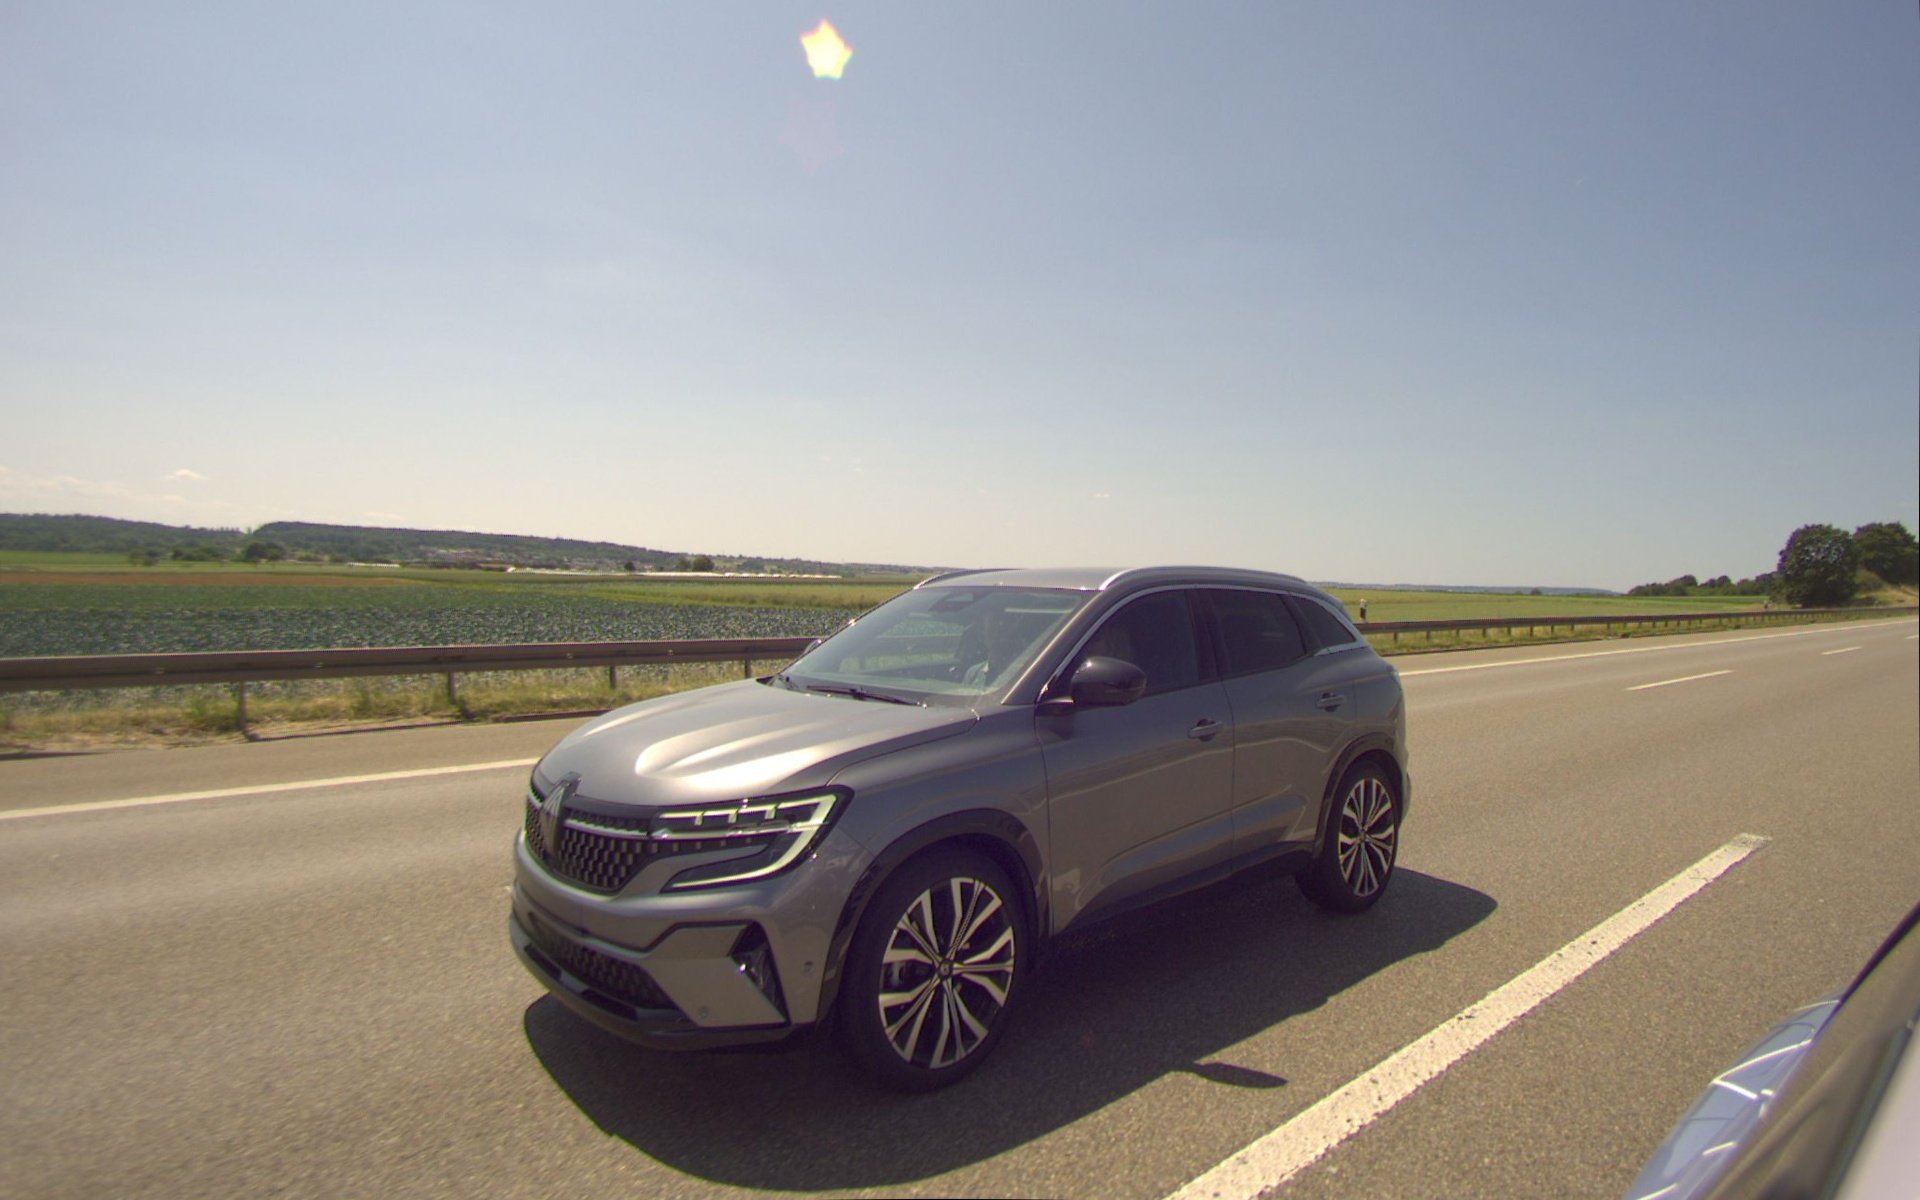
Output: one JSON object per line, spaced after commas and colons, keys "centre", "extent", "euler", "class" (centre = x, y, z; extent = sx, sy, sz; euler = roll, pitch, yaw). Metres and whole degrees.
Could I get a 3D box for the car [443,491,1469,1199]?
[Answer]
{"centre": [0.392, 0.566, 4.583], "extent": [4.564, 1.669, 1.854], "euler": [0, 1, -41], "class": "car"}
